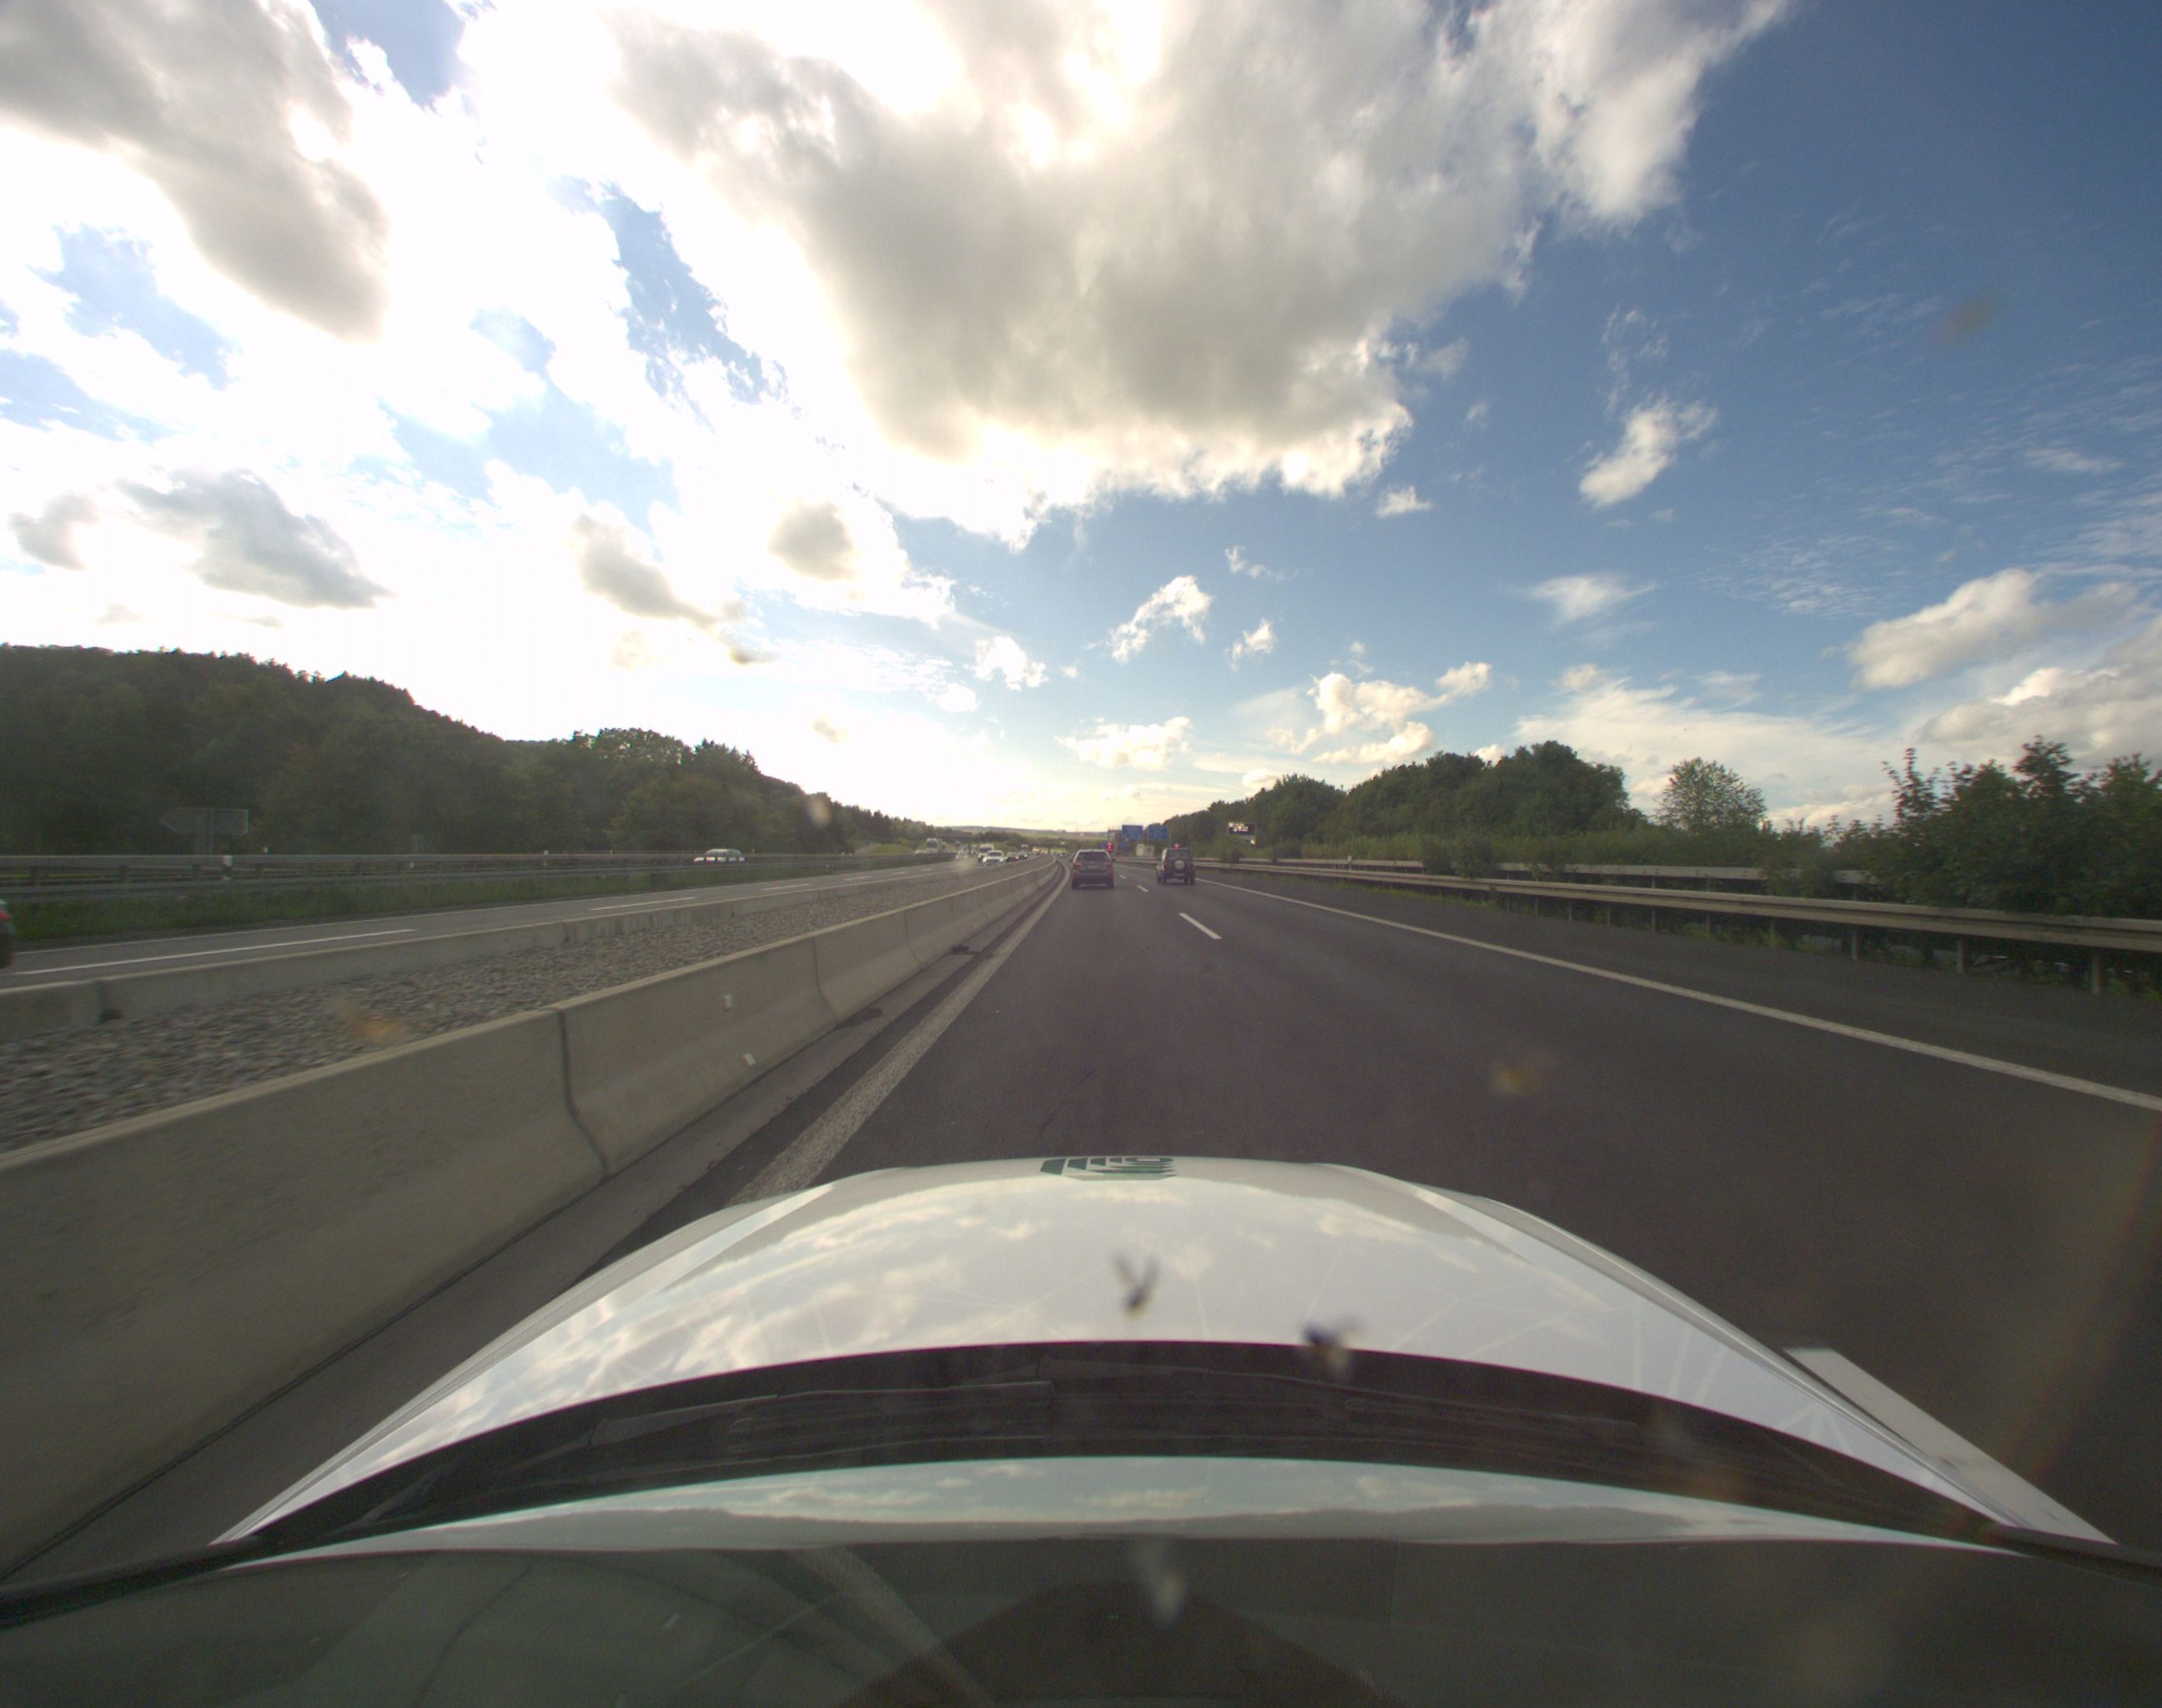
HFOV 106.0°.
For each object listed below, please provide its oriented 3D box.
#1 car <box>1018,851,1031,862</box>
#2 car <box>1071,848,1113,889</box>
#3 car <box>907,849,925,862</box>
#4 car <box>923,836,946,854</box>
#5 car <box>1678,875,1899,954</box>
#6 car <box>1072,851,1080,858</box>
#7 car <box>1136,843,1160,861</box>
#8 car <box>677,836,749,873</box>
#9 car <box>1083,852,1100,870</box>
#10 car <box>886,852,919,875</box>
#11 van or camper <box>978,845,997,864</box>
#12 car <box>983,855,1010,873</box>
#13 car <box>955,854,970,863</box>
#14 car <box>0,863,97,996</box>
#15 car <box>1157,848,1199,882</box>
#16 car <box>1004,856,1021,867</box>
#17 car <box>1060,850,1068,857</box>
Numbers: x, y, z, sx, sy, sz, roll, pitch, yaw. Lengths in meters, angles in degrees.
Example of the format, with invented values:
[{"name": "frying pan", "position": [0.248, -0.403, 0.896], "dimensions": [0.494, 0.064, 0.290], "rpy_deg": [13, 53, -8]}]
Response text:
[{"name": "car", "position": [-10.005, 0.423, 143.973], "dimensions": [1.987, 2.013, 4.271], "rpy_deg": [1, 0, -1]}, {"name": "car", "position": [0.492, 0.636, 37.302], "dimensions": [1.811, 1.736, 5.186], "rpy_deg": [0, -1, 0]}, {"name": "car", "position": [-26.317, 0.234, 129.843], "dimensions": [1.987, 2.013, 4.271], "rpy_deg": [1, 0, -1]}, {"name": "car", "position": [-33.572, -2.012, 187.174], "dimensions": [3.810, 4.080, 14.806], "rpy_deg": [0, 0, -4]}, {"name": "car", "position": [16.254, 1.309, 19.030], "dimensions": [1.777, 1.571, 4.026], "rpy_deg": [0, 0, 2]}, {"name": "car", "position": [-1.433, 0.201, 242.715], "dimensions": [1.990, 1.929, 3.992], "rpy_deg": [0, -2, -5]}, {"name": "car", "position": [16.297, -0.398, 198.443], "dimensions": [4.714, 4.266, 11.401], "rpy_deg": [1, 0, 0]}, {"name": "car", "position": [-22.876, 0.032, 50.838], "dimensions": [1.986, 2.233, 5.148], "rpy_deg": [0, 0, 1]}, {"name": "car", "position": [1.343, 0.792, 99.350], "dimensions": [2.023, 2.151, 4.001], "rpy_deg": [0, 0, 1]}, {"name": "car", "position": [-13.779, 0.729, 63.038], "dimensions": [1.720, 1.699, 4.151], "rpy_deg": [0, 0, -1]}, {"name": "van or camper", "position": [-13.445, 0.028, 117.013], "dimensions": [1.980, 2.624, 6.861], "rpy_deg": [0, 0, -1]}, {"name": "car", "position": [-7.569, 0.894, 73.632], "dimensions": [1.836, 1.611, 5.135], "rpy_deg": [0, 0, 1]}, {"name": "car", "position": [-17.942, 0.726, 123.602], "dimensions": [1.622, 1.293, 4.753], "rpy_deg": [0, 0, -1]}, {"name": "car", "position": [-12.538, 0.820, 7.114], "dimensions": [1.779, 1.417, 4.996], "rpy_deg": [0, 0, 0]}, {"name": "car", "position": [4.683, 0.505, 39.859], "dimensions": [1.582, 1.597, 4.095], "rpy_deg": [0, 0, 0]}, {"name": "car", "position": [-9.405, 1.024, 112.364], "dimensions": [1.919, 1.435, 4.776], "rpy_deg": [0, 0, -1]}, {"name": "car", "position": [-4.493, -0.206, 215.302], "dimensions": [1.989, 1.684, 3.994], "rpy_deg": [0, -2, -4]}]
